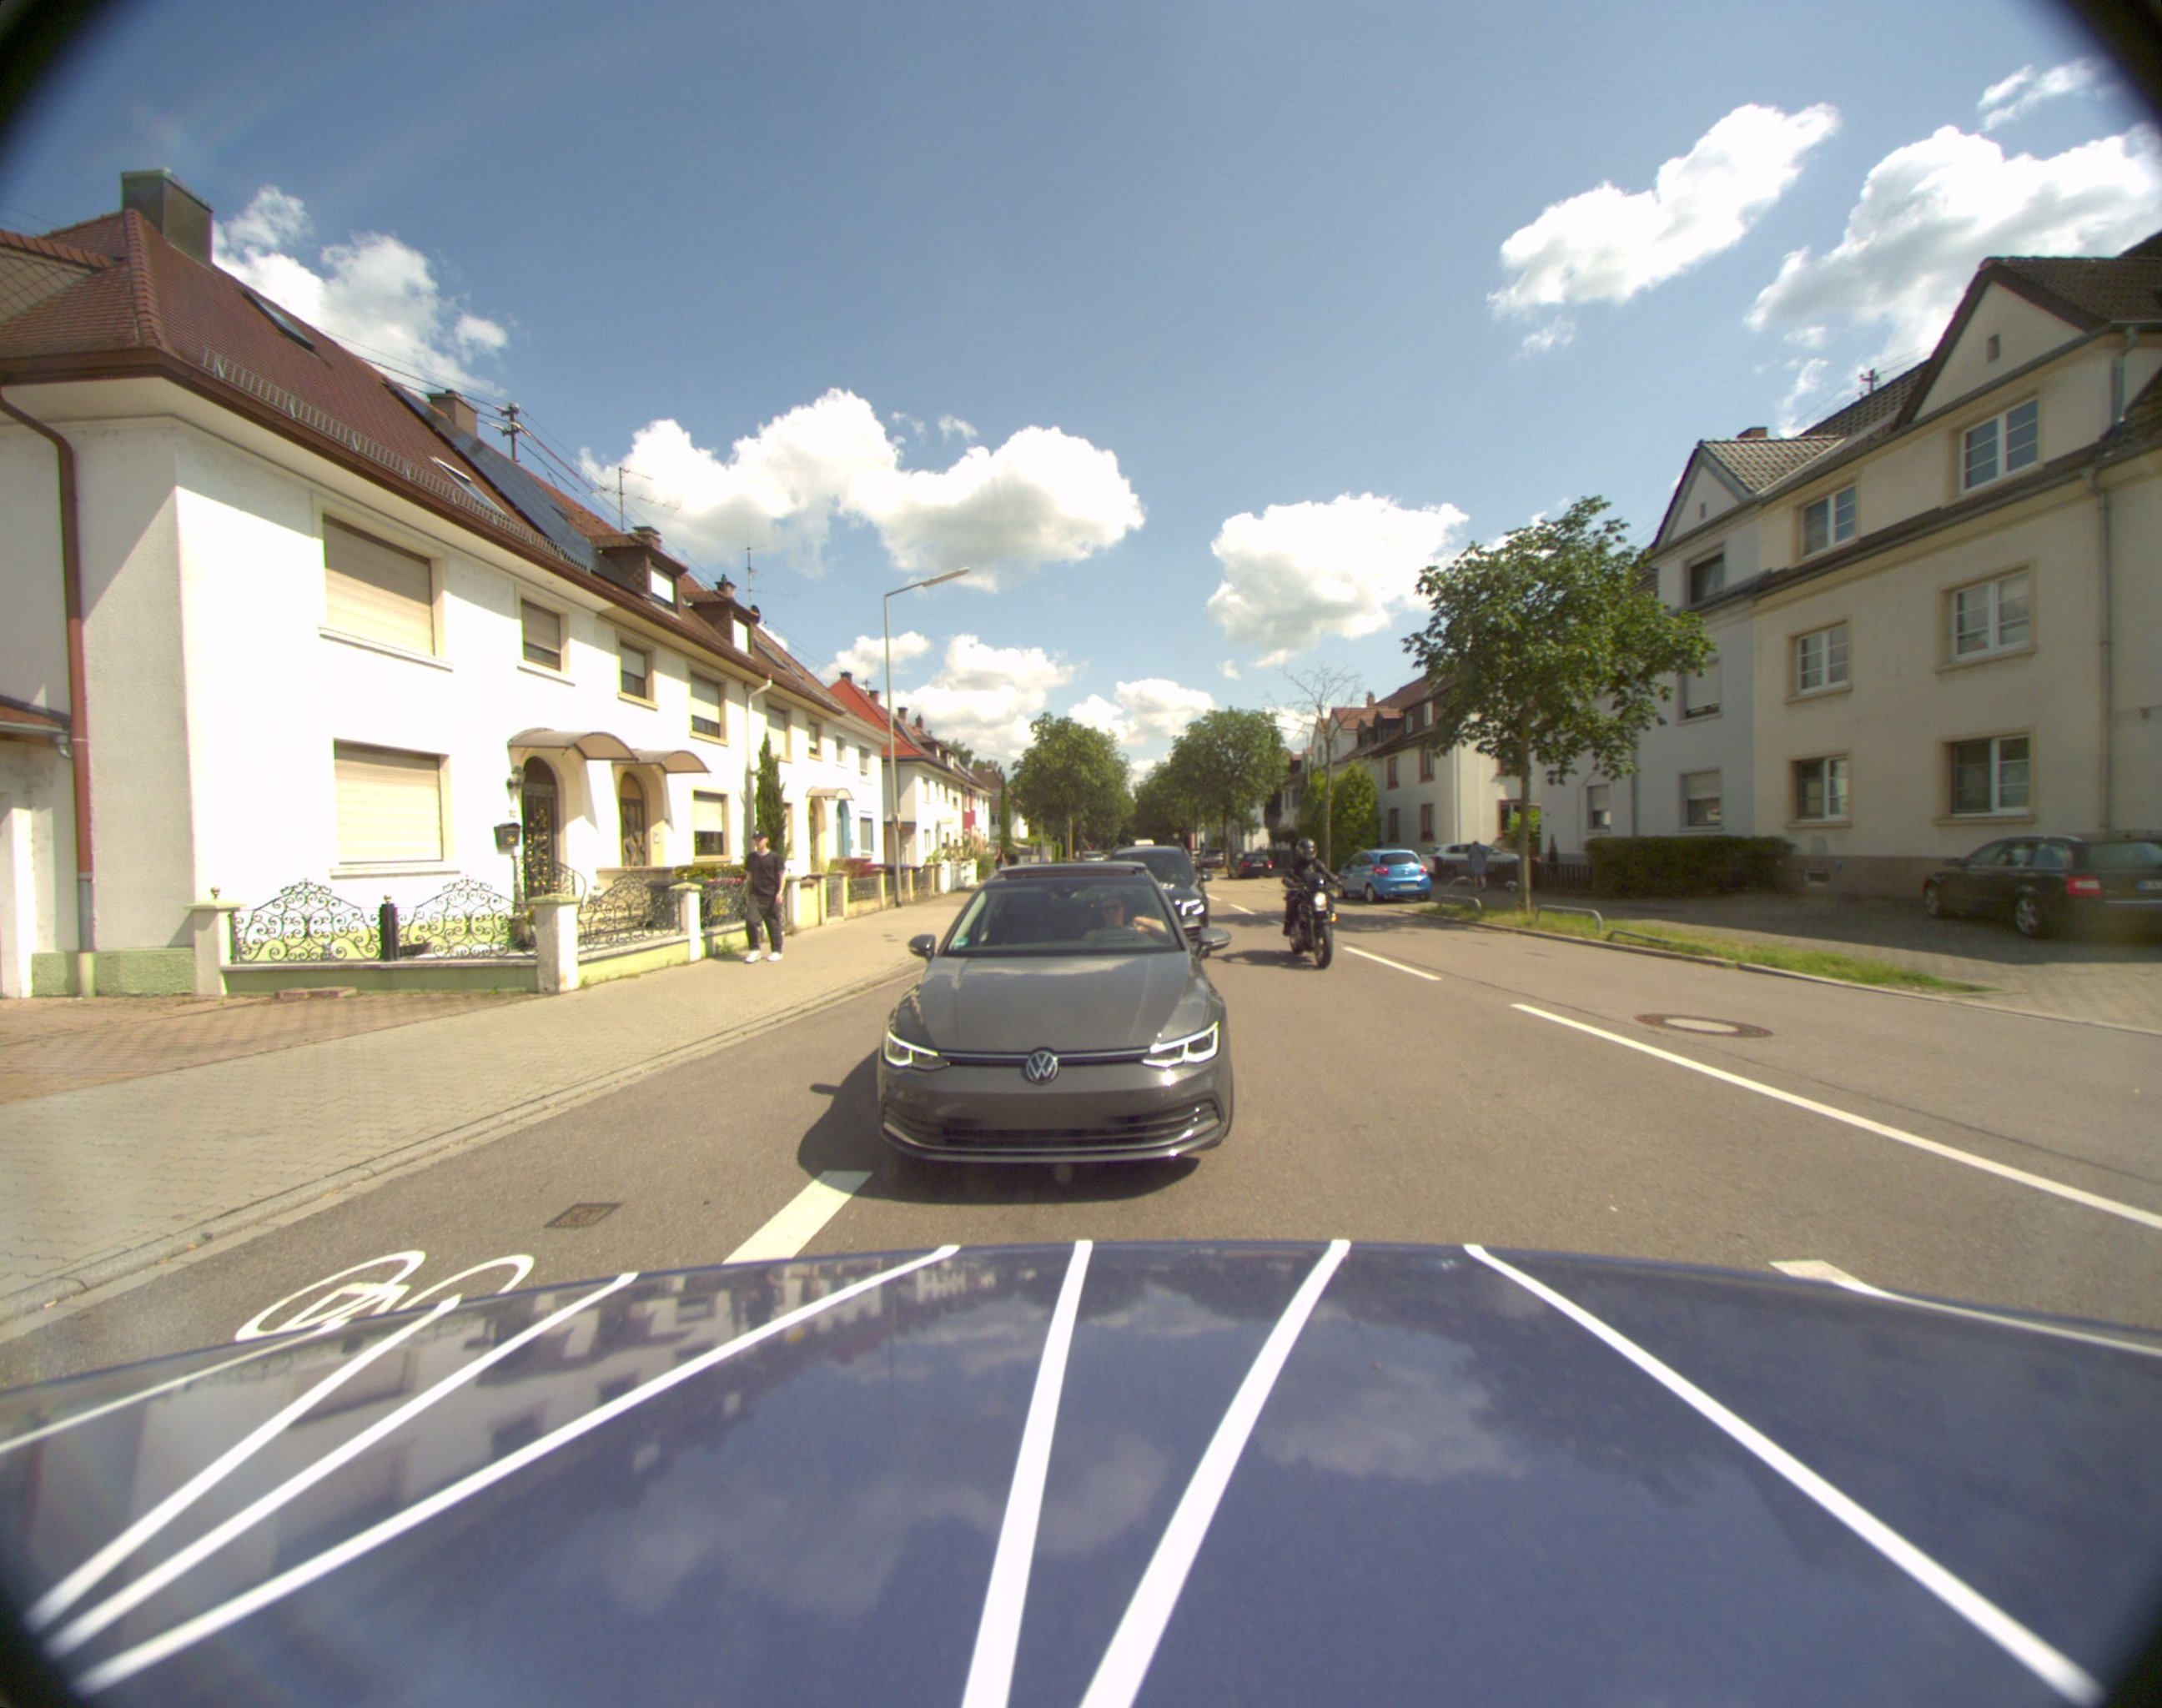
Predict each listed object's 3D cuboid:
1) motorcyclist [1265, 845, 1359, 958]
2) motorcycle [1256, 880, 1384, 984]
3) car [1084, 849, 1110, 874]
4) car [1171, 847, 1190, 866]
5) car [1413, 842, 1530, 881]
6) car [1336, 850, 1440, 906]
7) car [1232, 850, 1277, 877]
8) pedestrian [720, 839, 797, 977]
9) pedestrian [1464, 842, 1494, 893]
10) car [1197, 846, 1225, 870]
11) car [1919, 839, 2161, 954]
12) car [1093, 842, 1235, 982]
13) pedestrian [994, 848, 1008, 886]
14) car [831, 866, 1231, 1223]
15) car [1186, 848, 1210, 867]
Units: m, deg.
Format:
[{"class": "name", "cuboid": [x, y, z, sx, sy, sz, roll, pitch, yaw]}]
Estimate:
[{"class": "motorcyclist", "cuboid": [3.049, 0.618, 10.148, 0.825, 1.390, 1.100, -3, -2, -3]}, {"class": "motorcycle", "cuboid": [3.075, 0.954, 10.092, 0.843, 1.121, 2.358, -1, 0, -3]}, {"class": "car", "cuboid": [1.076, 0.476, 49.950, 1.381, 1.493, 3.002, -2, 0, 6]}, {"class": "car", "cuboid": [8.942, 0.217, 68.488, 1.562, 1.645, 3.252, -1, 0, 4]}, {"class": "car", "cuboid": [15.636, 0.285, 30.570, 3.805, 1.446, 1.711, -1, 1, 4]}, {"class": "car", "cuboid": [8.626, 0.621, 21.641, 1.709, 1.454, 3.154, -1, 0, 1]}, {"class": "car", "cuboid": [8.955, 0.461, 39.478, 1.709, 1.289, 3.918, -1, 0, 4]}, {"class": "pedestrian", "cuboid": [-4.283, 0.683, 10.155, 0.592, 1.757, 0.937, -1, 1, 1]}, {"class": "pedestrian", "cuboid": [12.122, 0.414, 23.138, 0.631, 1.527, 0.618, -1, 1, 9]}, {"class": "car", "cuboid": [9.122, 0.253, 53.420, 1.562, 1.645, 3.574, -1, 0, 4]}, {"class": "car", "cuboid": [14.242, 0.497, 10.982, 1.757, 1.378, 4.110, -1, 1, 31]}, {"class": "car", "cuboid": [1.114, 0.720, 12.100, 1.776, 1.754, 4.874, -1, 0, 1]}, {"class": "pedestrian", "cuboid": [-3.592, 0.576, 34.138, 0.519, 1.701, 0.618, -1, 1, 2]}, {"class": "car", "cuboid": [-0.252, 0.892, 5.760, 1.766, 1.465, 4.686, -1, 0, -1]}, {"class": "car", "cuboid": [9.130, 0.271, 59.445, 1.623, 1.417, 3.002, -2, 0, 6]}]
